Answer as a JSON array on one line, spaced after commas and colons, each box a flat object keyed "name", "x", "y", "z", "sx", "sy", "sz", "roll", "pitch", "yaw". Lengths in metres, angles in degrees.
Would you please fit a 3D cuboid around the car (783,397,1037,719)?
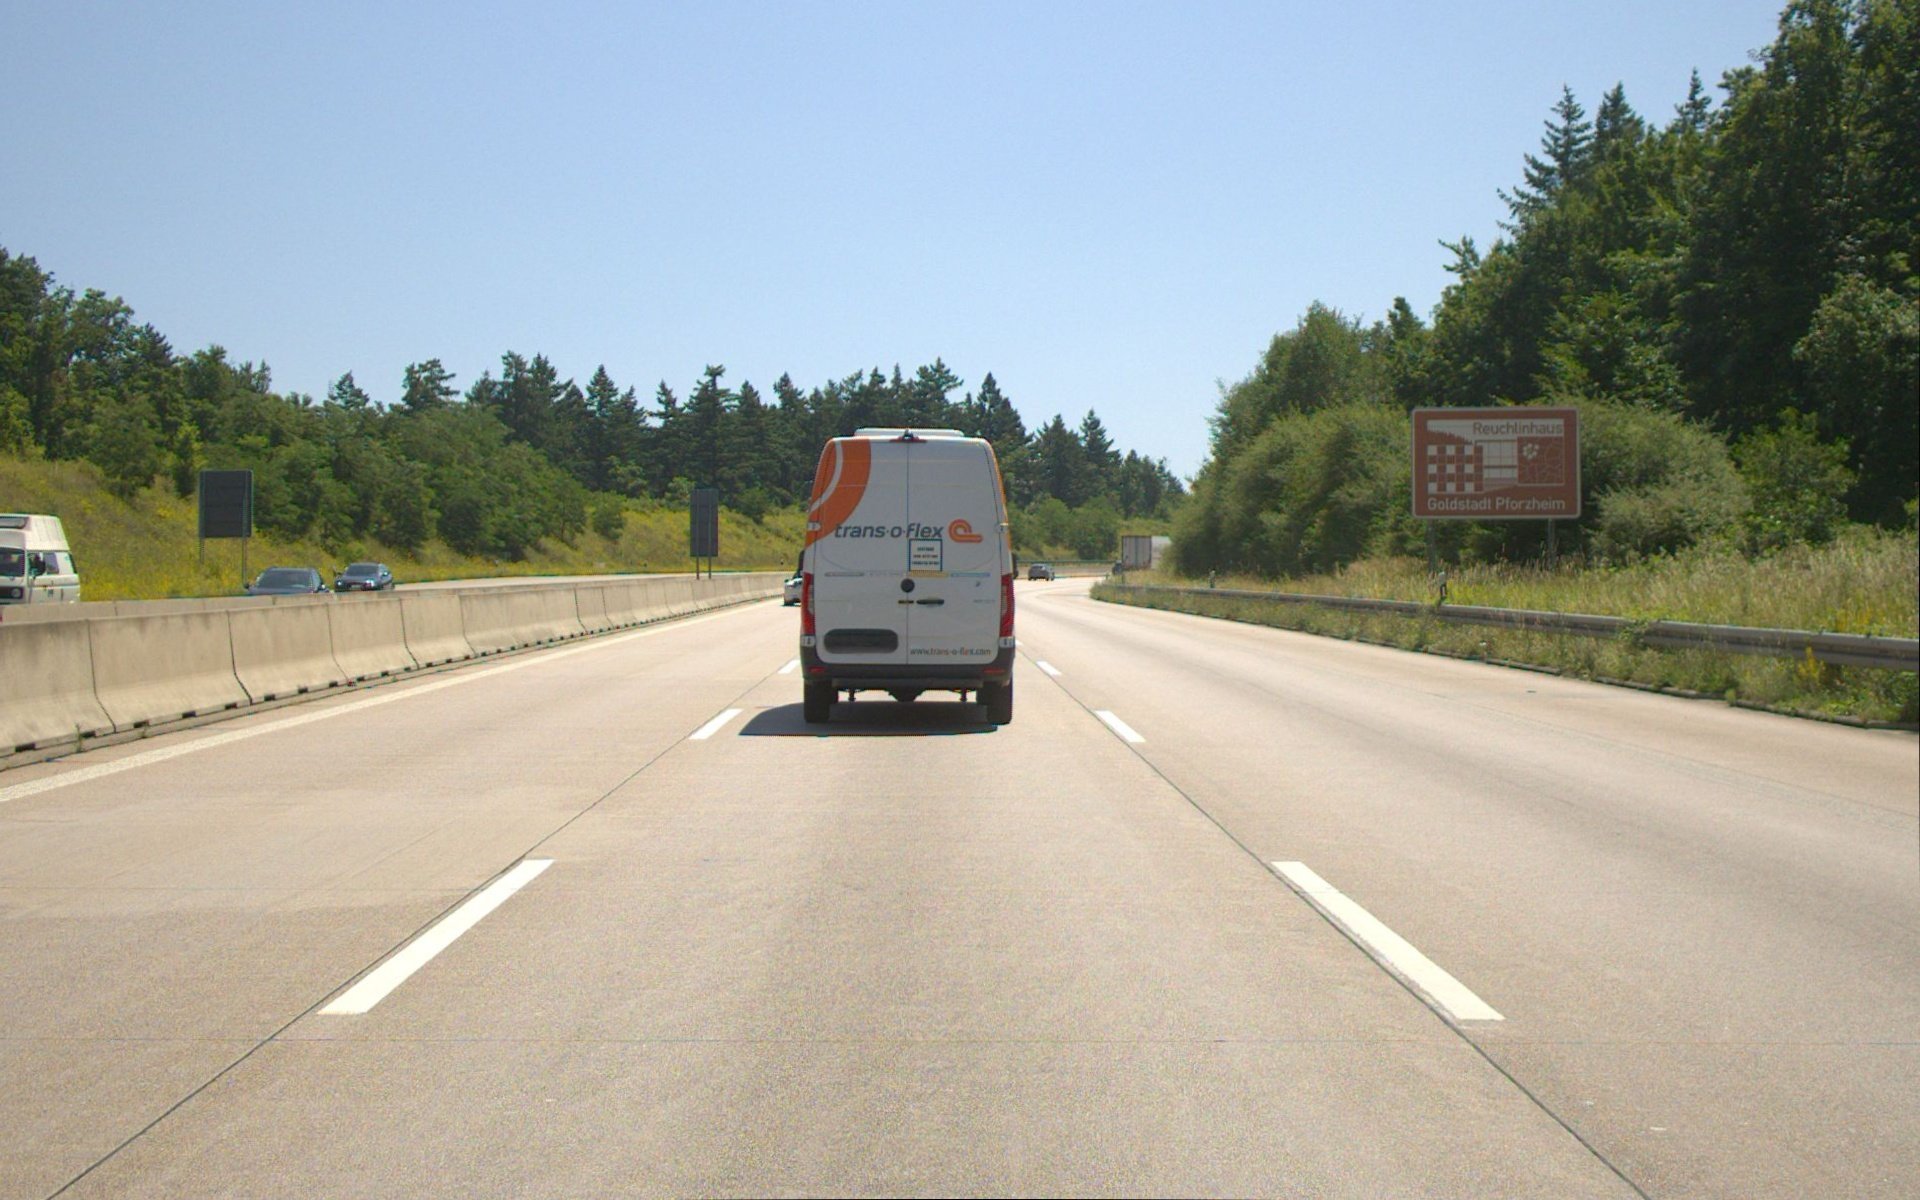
[{"name": "car", "x": -0.492, "y": -0.415, "z": 33.187, "sx": 2.226, "sy": 2.834, "sz": 5.454, "roll": 0, "pitch": 1, "yaw": -1}]

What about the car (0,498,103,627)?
[{"name": "car", "x": -18.797, "y": -0.763, "z": 68.842, "sx": 1.993, "sy": 2.477, "sz": 5.179, "roll": 1, "pitch": 1, "yaw": 0}]

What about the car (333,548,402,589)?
[{"name": "car", "x": -23.175, "y": -1.209, "z": 134.578, "sx": 1.993, "sy": 1.577, "sz": 4.042, "roll": 0, "pitch": 0, "yaw": 0}]

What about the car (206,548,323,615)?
[{"name": "car", "x": -16.708, "y": -0.451, "z": 82.760, "sx": 1.993, "sy": 1.577, "sz": 4.042, "roll": 0, "pitch": 1, "yaw": 0}]

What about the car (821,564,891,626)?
[{"name": "car", "x": -3.029, "y": -0.147, "z": 100.988, "sx": 1.993, "sy": 1.788, "sz": 4.000, "roll": 0, "pitch": 0, "yaw": -1}]

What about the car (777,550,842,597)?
[{"name": "car", "x": -5.467, "y": -0.965, "z": 125.336, "sx": 1.994, "sy": 1.678, "sz": 3.999, "roll": 0, "pitch": 0, "yaw": 3}]
